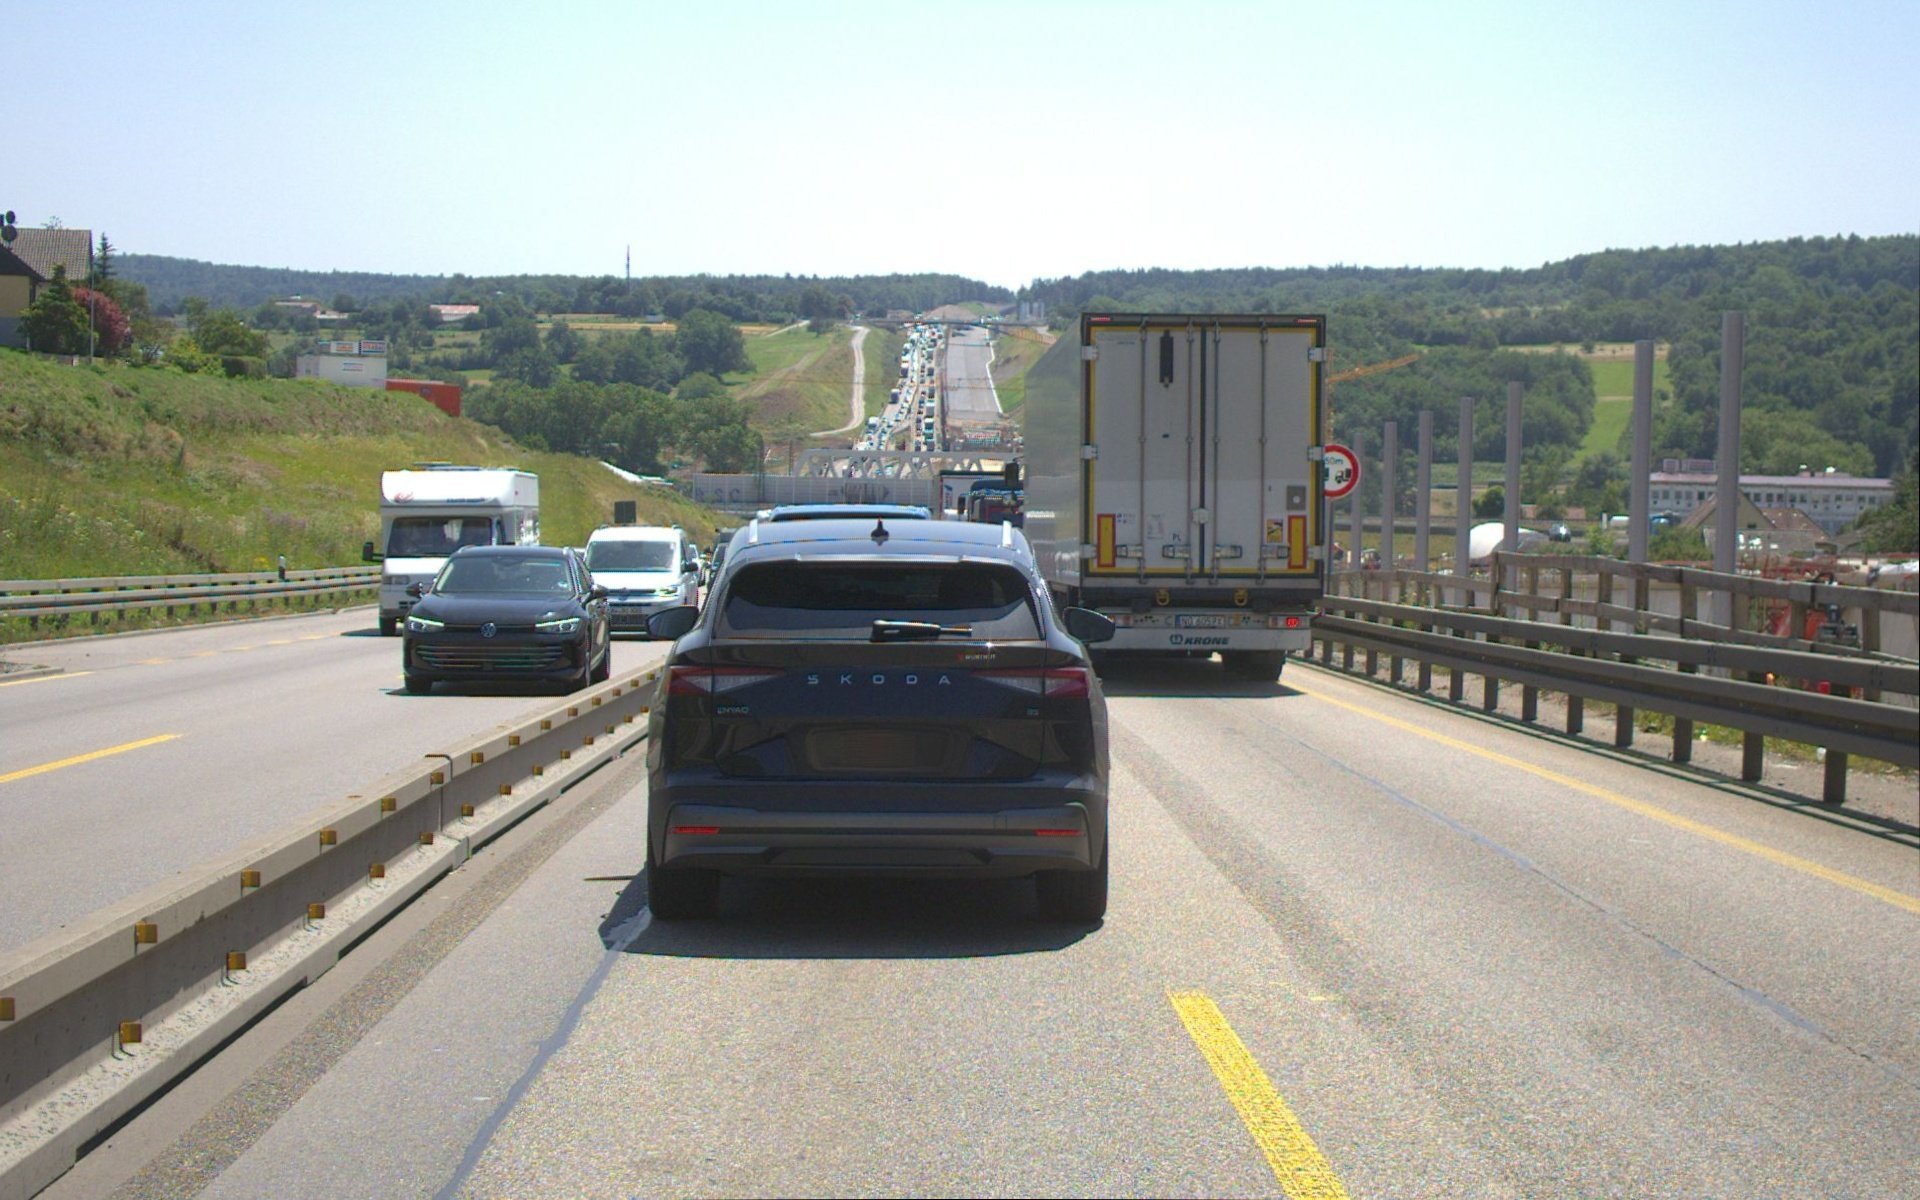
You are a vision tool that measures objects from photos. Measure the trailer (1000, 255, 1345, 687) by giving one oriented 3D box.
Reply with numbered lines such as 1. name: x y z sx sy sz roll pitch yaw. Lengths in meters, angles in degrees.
1. trailer: 2.301 -1.513 42.587 3.180 4.497 13.110 0 1 -1

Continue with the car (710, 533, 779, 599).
1. car: -5.032 -0.814 80.612 1.483 1.500 2.805 0 1 -1

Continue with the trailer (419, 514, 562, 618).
1. trailer: -8.868 -0.669 65.323 2.101 1.887 5.141 1 1 -1

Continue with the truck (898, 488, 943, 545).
1. truck: -2.574 -5.406 222.836 2.779 3.660 6.278 0 1 -2

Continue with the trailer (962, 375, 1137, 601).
1. trailer: 1.807 -2.252 76.663 3.180 4.498 14.967 0 0 -1

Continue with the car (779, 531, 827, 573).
1. car: -6.158 -1.900 135.047 1.806 1.634 4.173 0 1 -2

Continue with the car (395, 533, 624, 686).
1. car: -4.591 0.053 35.650 1.842 1.470 4.835 0 1 -1

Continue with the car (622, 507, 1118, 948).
1. car: -0.344 0.450 14.574 1.802 1.602 4.000 0 0 0

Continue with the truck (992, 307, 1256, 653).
1. truck: 2.178 -1.661 49.030 3.180 4.497 8.166 0 1 -1

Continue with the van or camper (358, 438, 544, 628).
1. van or camper: -8.703 -1.152 59.402 2.291 3.056 6.924 1 1 -1

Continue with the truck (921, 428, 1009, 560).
1. truck: 0.114 -3.778 126.543 2.852 4.450 11.918 0 0 -2

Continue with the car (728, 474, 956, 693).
1. car: -1.096 -0.142 32.643 1.993 1.919 4.508 0 0 -1

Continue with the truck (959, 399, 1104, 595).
1. truck: 1.655 -2.389 83.826 3.180 4.498 8.166 0 0 -1

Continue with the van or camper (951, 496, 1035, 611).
1. van or camper: 1.002 -1.314 101.219 2.389 3.269 6.468 0 0 1

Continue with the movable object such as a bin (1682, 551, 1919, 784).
1. movable object such as a bin: 18.441 1.377 74.732 3.227 4.727 9.656 0 0 -1

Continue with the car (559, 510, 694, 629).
1. car: -5.349 -0.512 55.674 1.837 1.821 5.041 0 1 -2
